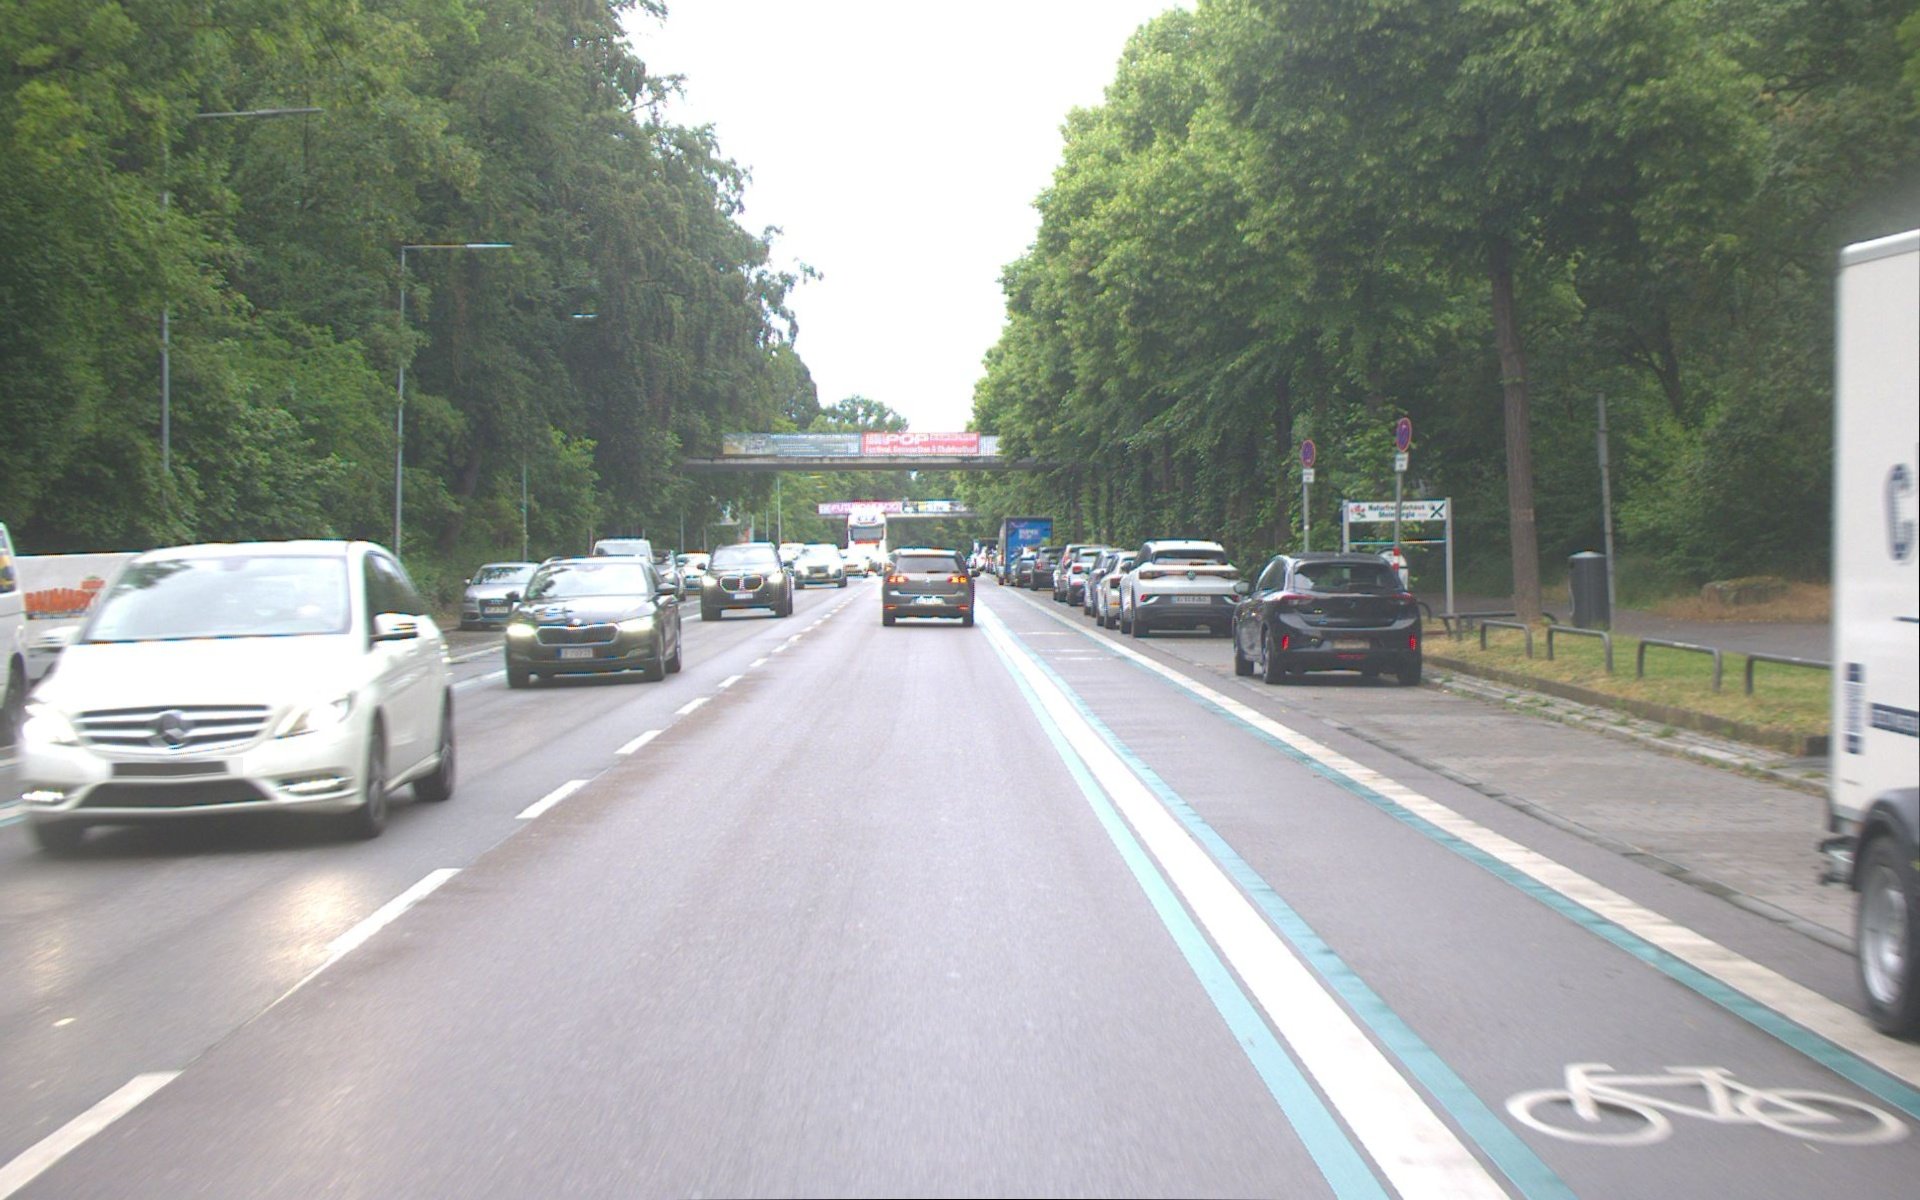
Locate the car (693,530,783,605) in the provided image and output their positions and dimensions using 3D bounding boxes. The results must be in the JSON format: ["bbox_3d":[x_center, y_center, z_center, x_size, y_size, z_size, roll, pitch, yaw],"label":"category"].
[{"bbox_3d":[-4.876,-0.737,75.917,1.706,1.566,4.000,-1,1,0],"label":"car"}]

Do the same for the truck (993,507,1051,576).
[{"bbox_3d":[2.396,-2.288,133.204,2.112,2.590,4.301,-1,1,0],"label":"truck"}]

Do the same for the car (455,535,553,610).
[{"bbox_3d":[-9.658,-0.603,73.010,1.672,1.508,3.631,0,2,-2],"label":"car"}]

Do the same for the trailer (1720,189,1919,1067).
[{"bbox_3d":[3.856,0.078,9.997,2.131,2.551,4.298,0,1,-3],"label":"trailer"}]

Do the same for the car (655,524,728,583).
[{"bbox_3d":[-9.513,-1.680,122.175,2.159,2.007,5.031,-1,1,0],"label":"car"}]

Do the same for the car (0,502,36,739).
[{"bbox_3d":[-9.026,0.200,28.042,1.939,2.007,4.741,0,1,-4],"label":"car"}]

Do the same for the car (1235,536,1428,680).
[{"bbox_3d":[4.135,0.046,38.778,1.722,1.520,4.000,0,1,0],"label":"car"}]

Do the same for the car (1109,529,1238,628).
[{"bbox_3d":[3.596,-0.396,58.484,1.897,1.601,4.000,0,1,0],"label":"car"}]

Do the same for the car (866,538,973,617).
[{"bbox_3d":[-0.810,-0.413,65.915,1.871,1.436,4.297,1,0,-3],"label":"car"}]

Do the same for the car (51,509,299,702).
[{"bbox_3d":[-8.688,0.003,38.433,1.939,2.007,4.741,0,1,-4],"label":"car"}]

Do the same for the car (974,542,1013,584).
[{"bbox_3d":[1.805,-1.998,185.027,1.993,2.007,3.999,-2,-2,0],"label":"car"}]

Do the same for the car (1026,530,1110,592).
[{"bbox_3d":[2.775,-1.033,89.010,1.993,1.557,4.000,0,1,0],"label":"car"}]

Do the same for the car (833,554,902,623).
[{"bbox_3d":[-2.783,-0.369,103.959,1.993,2.007,4.000,0,1,0],"label":"car"}]

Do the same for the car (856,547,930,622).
[{"bbox_3d":[-1.849,-0.457,96.253,1.993,2.007,4.000,-1,1,0],"label":"car"}]

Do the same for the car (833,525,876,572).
[{"bbox_3d":[-5.206,-2.528,169.881,1.993,2.007,3.999,-2,-2,0],"label":"car"}]

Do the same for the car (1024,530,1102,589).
[{"bbox_3d":[2.820,-1.127,94.813,1.993,1.557,4.000,0,1,0],"label":"car"}]

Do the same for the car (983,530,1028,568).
[{"bbox_3d":[2.130,-2.410,161.703,1.993,1.744,4.000,0,1,0],"label":"car"}]

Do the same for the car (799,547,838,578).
[{"bbox_3d":[-5.285,-1.410,128.695,1.378,1.127,3.313,0,1,-1],"label":"car"}]

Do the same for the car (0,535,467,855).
[{"bbox_3d":[-3.862,0.425,18.791,1.835,1.512,4.001,-1,1,-2],"label":"car"}]

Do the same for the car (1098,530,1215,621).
[{"bbox_3d":[3.573,-0.471,63.169,1.897,1.601,4.000,0,1,0],"label":"car"}]

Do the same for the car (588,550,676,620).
[{"bbox_3d":[-9.999,-0.481,105.087,2.159,2.007,5.031,-1,1,0],"label":"car"}]

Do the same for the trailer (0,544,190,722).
[{"bbox_3d":[-9.299,0.304,33.014,1.628,1.623,3.666,0,1,30],"label":"trailer"}]

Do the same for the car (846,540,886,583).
[{"bbox_3d":[-5.005,-2.039,182.988,1.993,2.007,3.999,-2,-2,0],"label":"car"}]

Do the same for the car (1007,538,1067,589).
[{"bbox_3d":[2.788,-1.316,124.952,1.993,1.766,4.000,-2,1,0],"label":"car"}]

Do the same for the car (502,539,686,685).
[{"bbox_3d":[-4.199,0.097,39.972,1.706,1.566,4.000,-1,1,0],"label":"car"}]

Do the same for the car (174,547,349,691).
[{"bbox_3d":[-9.071,0.216,44.850,1.576,1.764,3.415,-1,1,0],"label":"car"}]

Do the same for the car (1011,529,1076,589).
[{"bbox_3d":[2.816,-1.400,117.134,1.993,2.007,4.000,0,1,-2],"label":"car"}]

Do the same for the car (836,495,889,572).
[{"bbox_3d":[-6.384,-4.399,226.868,3.353,4.934,9.011,0,1,-1],"label":"car"}]
